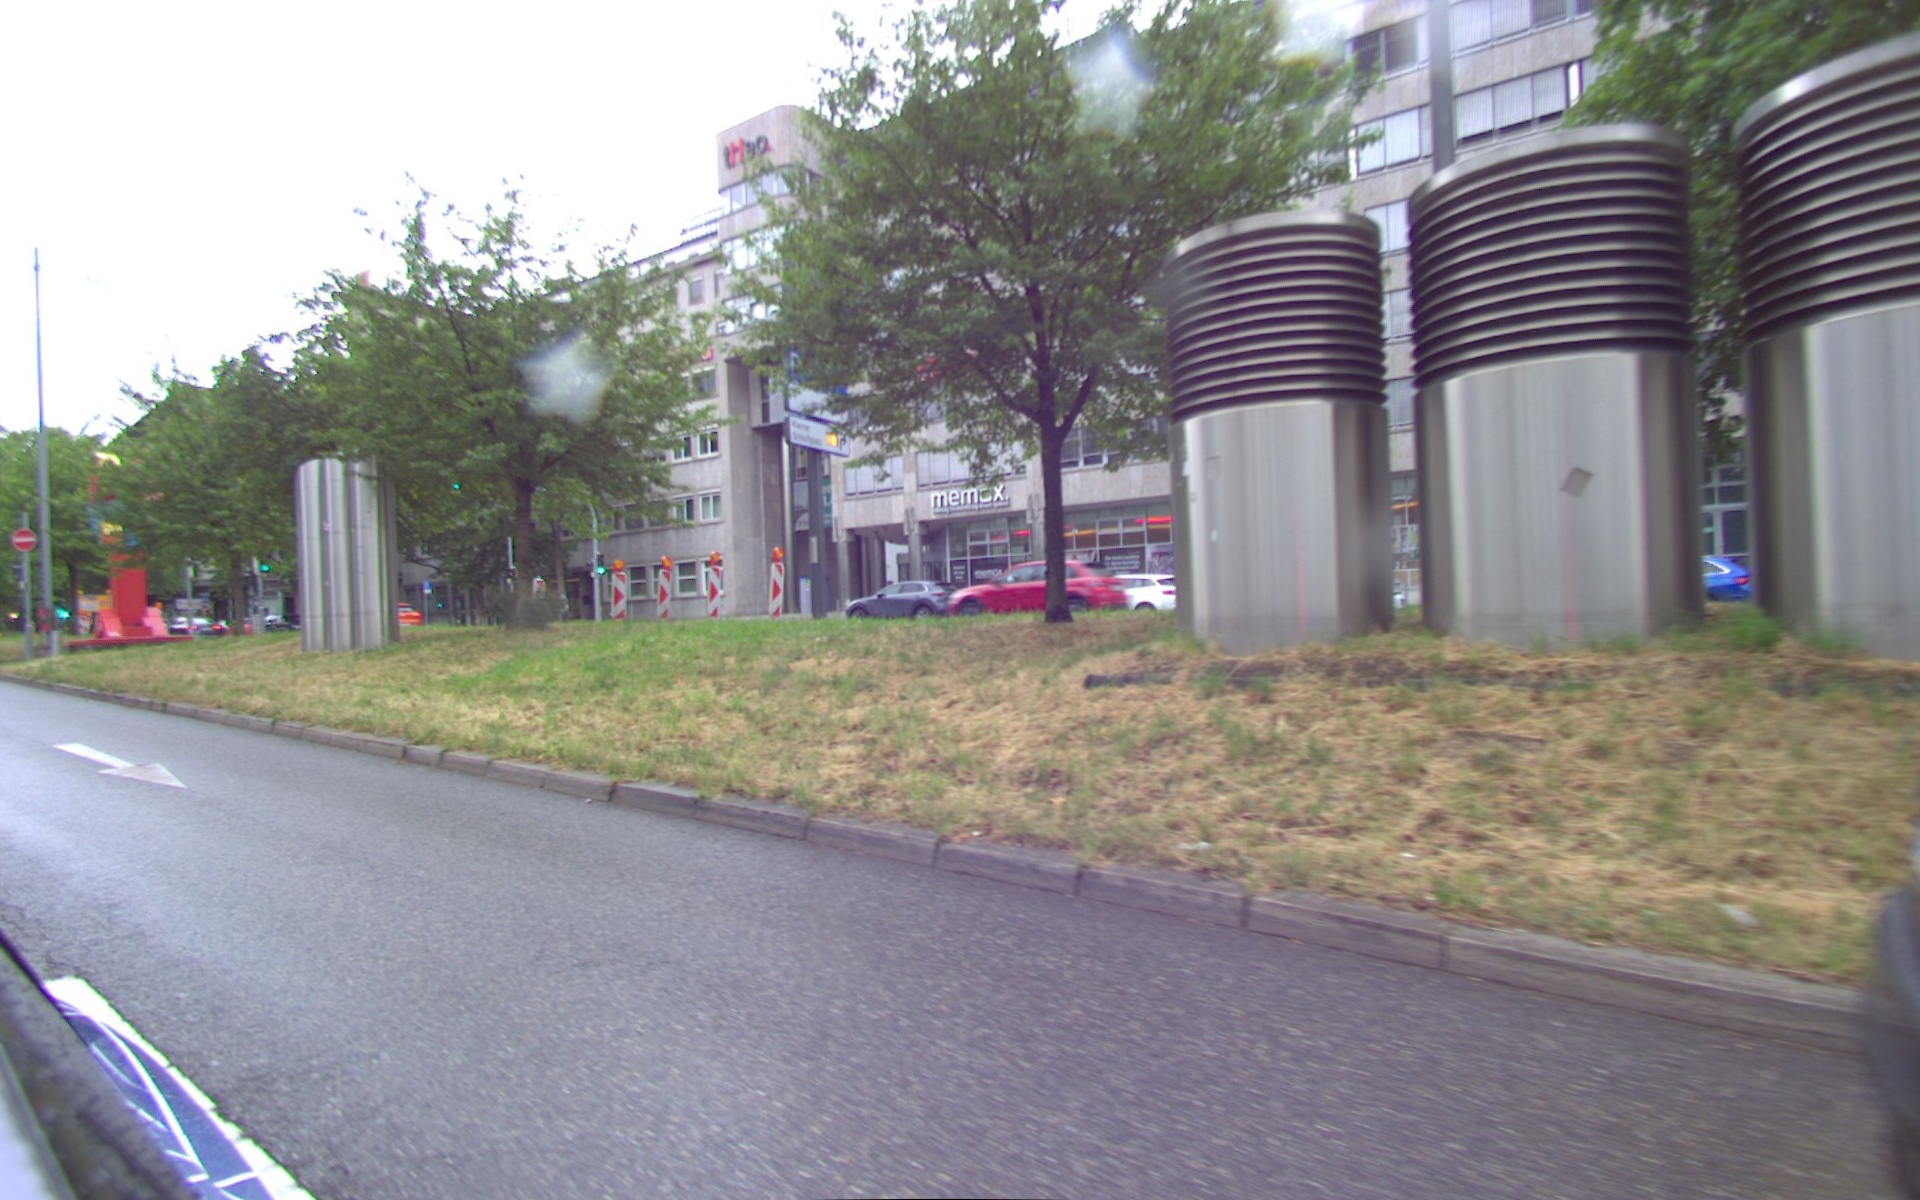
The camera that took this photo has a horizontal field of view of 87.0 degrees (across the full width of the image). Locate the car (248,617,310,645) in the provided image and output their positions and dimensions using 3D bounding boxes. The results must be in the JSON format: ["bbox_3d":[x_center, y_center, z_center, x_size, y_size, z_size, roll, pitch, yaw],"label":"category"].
[{"bbox_3d":[-42.374,1.921,62.935,4.461,1.634,1.844,-2,-1,38],"label":"car"}]

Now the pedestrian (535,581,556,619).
[{"bbox_3d":[-18.463,-0.005,45.114,0.619,1.641,0.599,-2,0,41],"label":"pedestrian"}]

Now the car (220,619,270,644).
[{"bbox_3d":[-46.484,2.082,65.786,3.687,1.514,1.670,-2,-1,38],"label":"car"}]

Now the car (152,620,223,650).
[{"bbox_3d":[-40.655,1.835,53.241,4.559,1.440,1.844,-2,-1,38],"label":"car"}]

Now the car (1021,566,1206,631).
[{"bbox_3d":[4.274,-0.005,28.661,4.905,1.634,1.759,-2,-1,38],"label":"car"}]

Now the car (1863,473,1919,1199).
[{"bbox_3d":[3.424,0.519,0.517,4.247,1.628,1.830,-2,0,39],"label":"car"}]

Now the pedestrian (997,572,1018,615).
[{"bbox_3d":[2.012,-0.277,43.029,0.527,1.801,0.714,-2,0,31],"label":"pedestrian"}]

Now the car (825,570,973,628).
[{"bbox_3d":[-2.047,-0.006,33.067,4.785,1.738,1.844,-2,1,38],"label":"car"}]

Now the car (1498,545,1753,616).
[{"bbox_3d":[14.396,-0.378,22.131,4.464,1.335,1.876,-2,0,34],"label":"car"}]

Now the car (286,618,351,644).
[{"bbox_3d":[-38.057,1.847,60.018,4.559,1.440,1.844,-2,-1,38],"label":"car"}]

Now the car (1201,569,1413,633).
[{"bbox_3d":[8.608,0.061,25.300,4.677,1.412,1.759,-2,-1,38],"label":"car"}]

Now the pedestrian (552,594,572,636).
[{"bbox_3d":[-17.584,0.658,44.709,0.721,1.801,0.522,-2,0,41],"label":"pedestrian"}]

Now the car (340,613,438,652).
[{"bbox_3d":[-22.759,1.308,40.321,4.123,1.440,1.845,-2,-1,36],"label":"car"}]

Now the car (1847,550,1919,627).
[{"bbox_3d":[19.303,-0.274,18.809,4.007,1.412,1.760,-2,-1,36],"label":"car"}]

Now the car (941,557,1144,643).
[{"bbox_3d":[1.789,0.021,22.266,3.987,1.713,1.930,-2,0,32],"label":"car"}]
